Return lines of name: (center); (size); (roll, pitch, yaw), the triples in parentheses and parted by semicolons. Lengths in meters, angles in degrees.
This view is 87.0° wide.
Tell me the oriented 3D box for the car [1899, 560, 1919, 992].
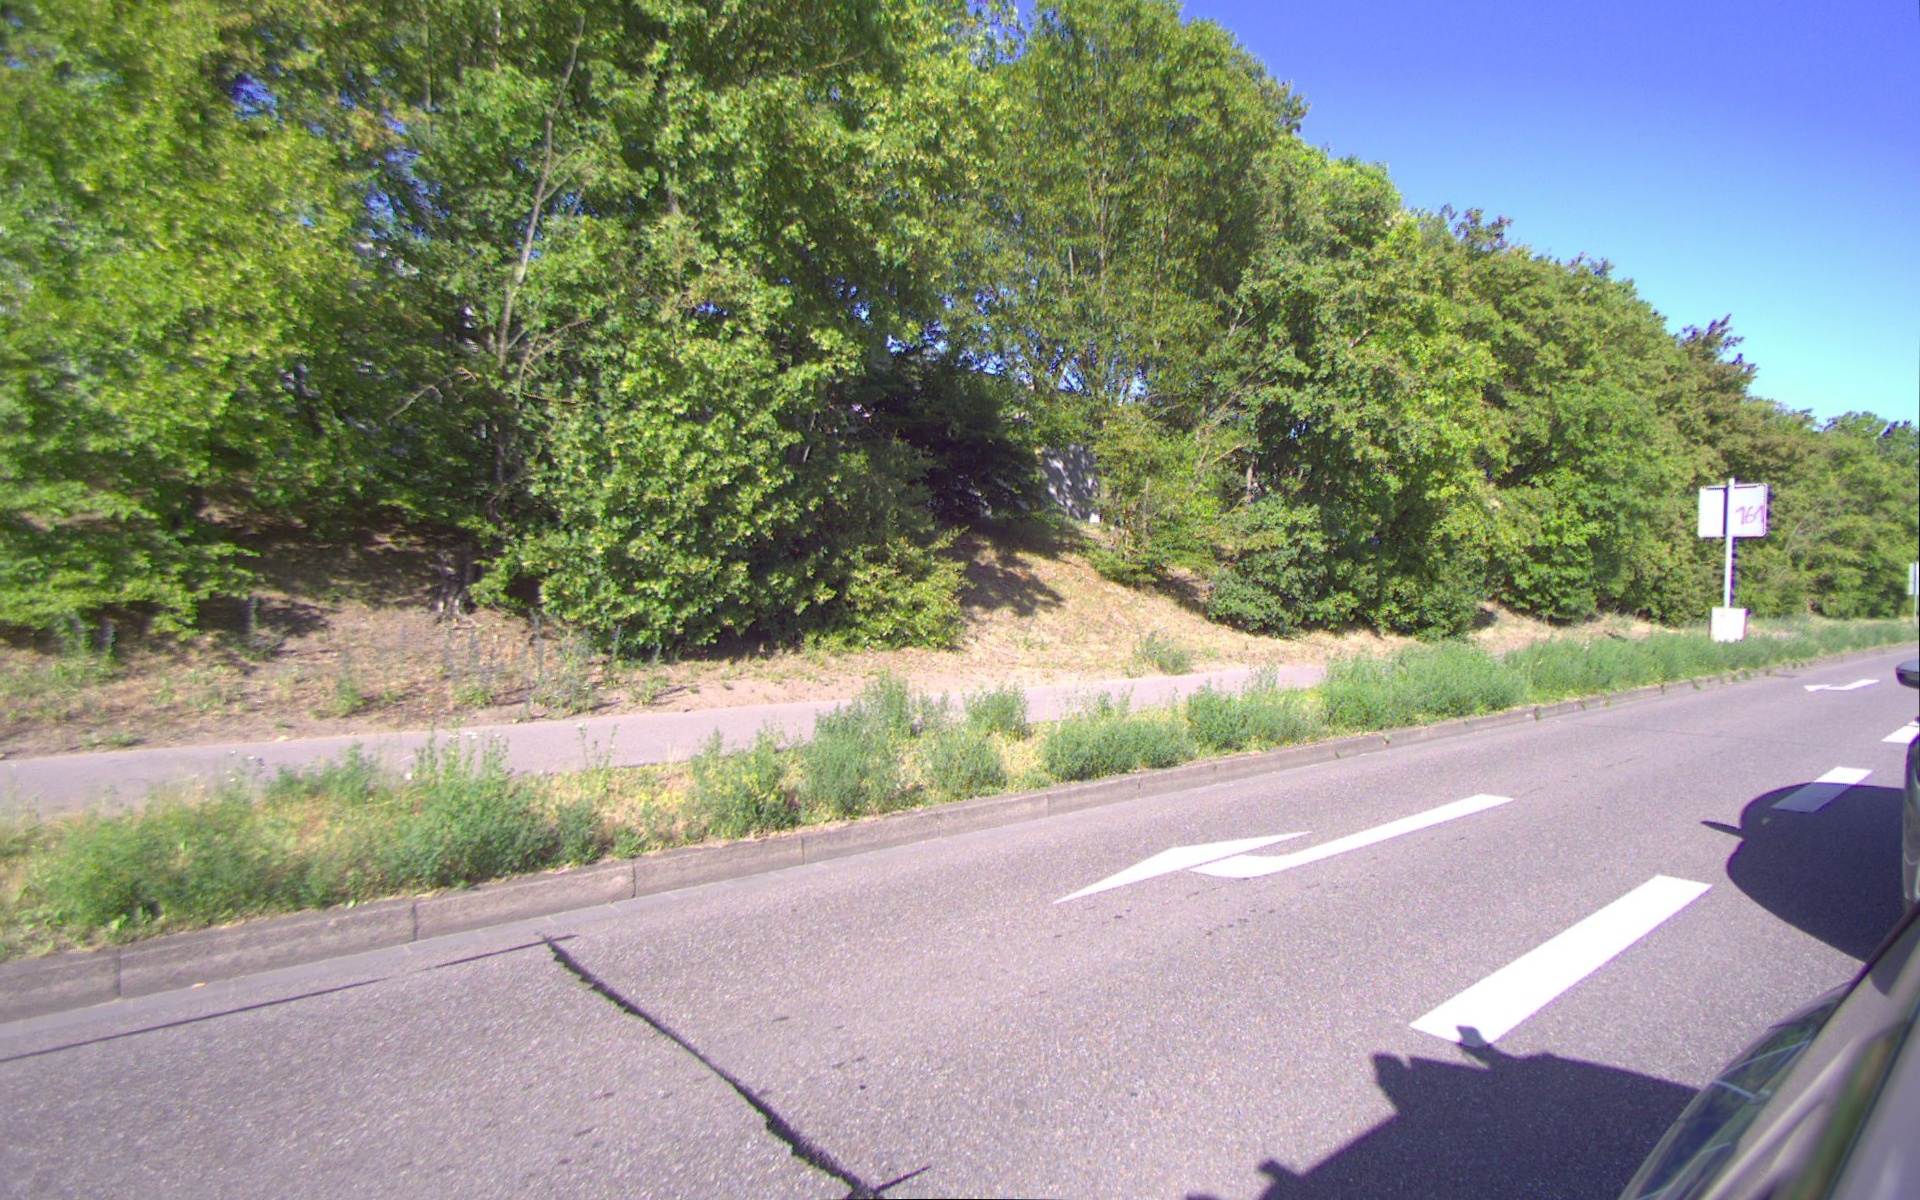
car: (5.748, 0.655, 4.547); (4.327, 1.603, 1.860); (0, 0, -42)
